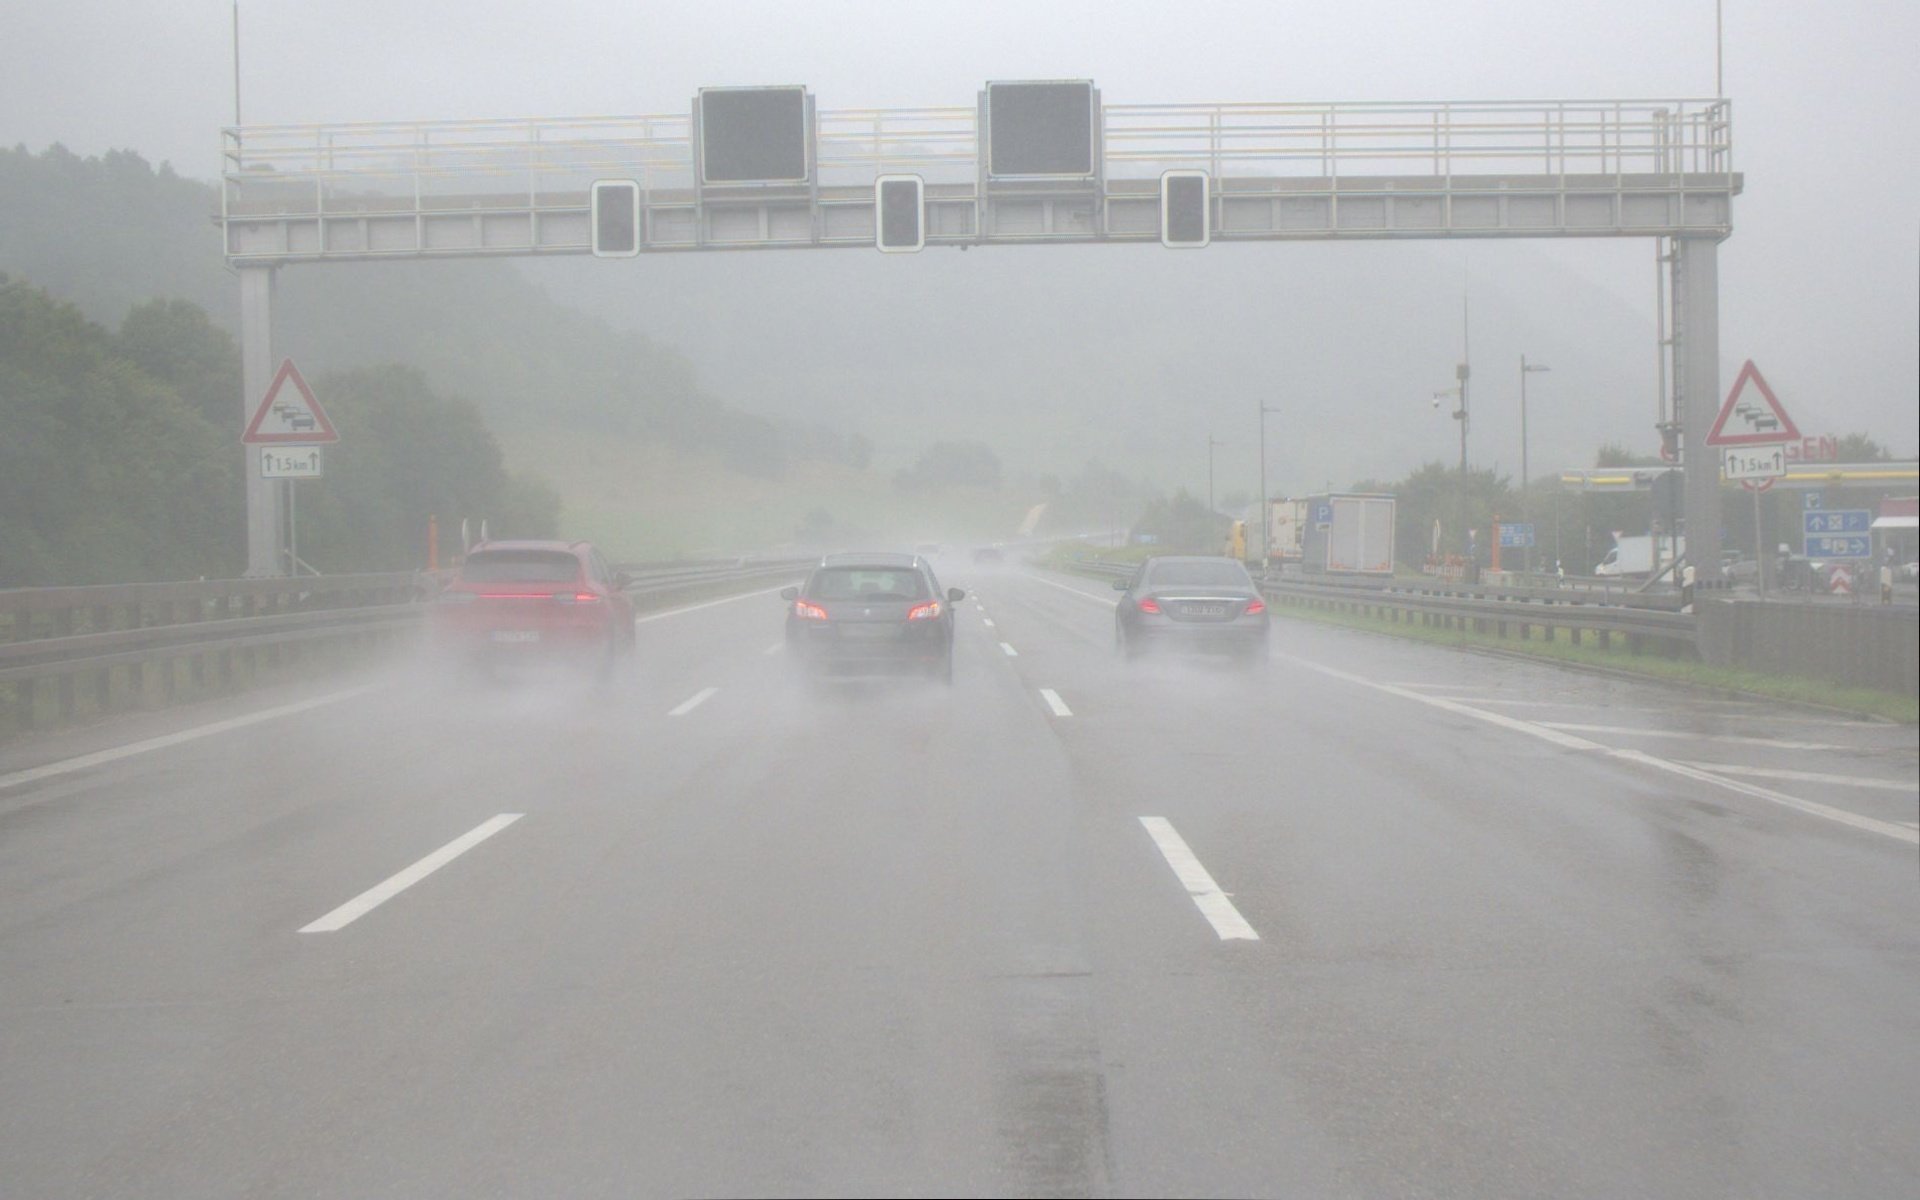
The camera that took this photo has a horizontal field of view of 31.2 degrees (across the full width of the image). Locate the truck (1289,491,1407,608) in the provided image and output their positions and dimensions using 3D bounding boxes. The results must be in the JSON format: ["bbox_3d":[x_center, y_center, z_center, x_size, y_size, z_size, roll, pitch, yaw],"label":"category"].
[{"bbox_3d":[15.326,-2.016,136.762,3.401,4.387,11.049,1,1,0],"label":"truck"}]

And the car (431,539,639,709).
[{"bbox_3d":[-4.714,0.223,38.619,1.884,1.809,4.000,0,1,-1],"label":"car"}]

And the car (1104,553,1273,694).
[{"bbox_3d":[2.978,0.271,45.557,1.971,1.754,4.000,0,1,0],"label":"car"}]

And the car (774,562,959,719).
[{"bbox_3d":[-0.961,0.395,37.385,1.859,1.584,4.000,1,1,0],"label":"car"}]

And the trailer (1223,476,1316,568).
[{"bbox_3d":[14.943,-3.685,166.807,3.516,4.247,11.920,1,1,1],"label":"trailer"}]
